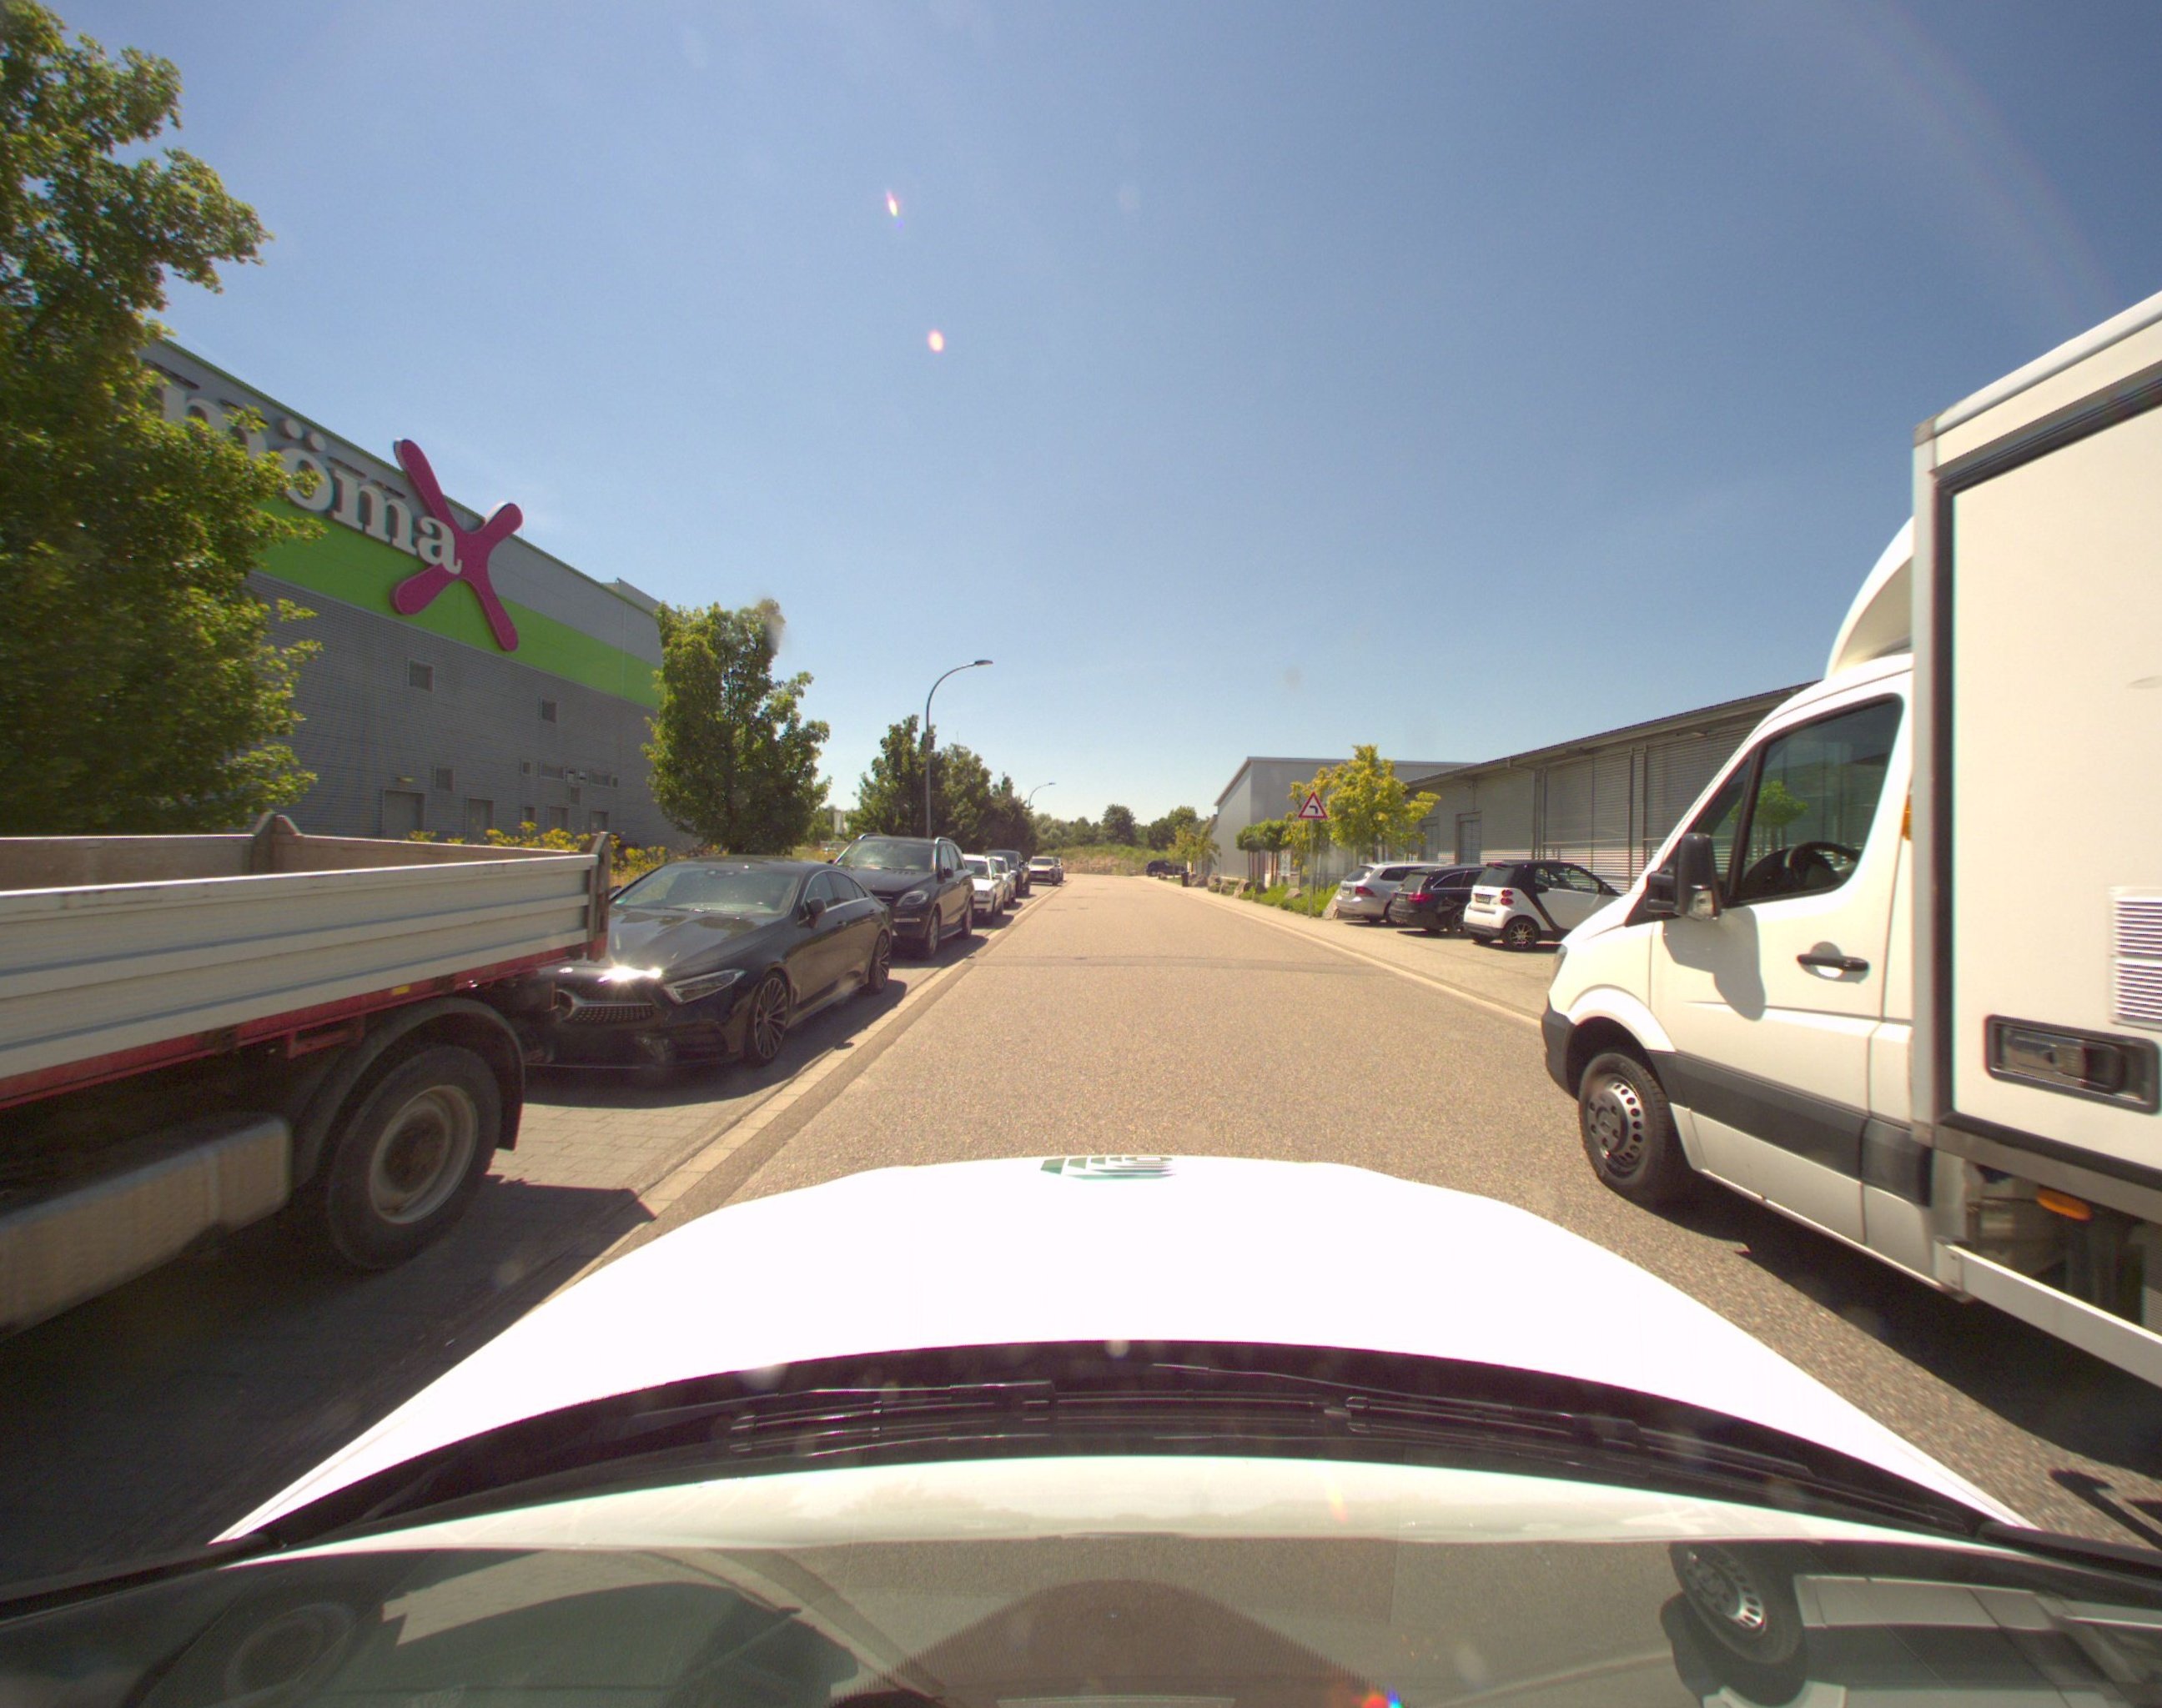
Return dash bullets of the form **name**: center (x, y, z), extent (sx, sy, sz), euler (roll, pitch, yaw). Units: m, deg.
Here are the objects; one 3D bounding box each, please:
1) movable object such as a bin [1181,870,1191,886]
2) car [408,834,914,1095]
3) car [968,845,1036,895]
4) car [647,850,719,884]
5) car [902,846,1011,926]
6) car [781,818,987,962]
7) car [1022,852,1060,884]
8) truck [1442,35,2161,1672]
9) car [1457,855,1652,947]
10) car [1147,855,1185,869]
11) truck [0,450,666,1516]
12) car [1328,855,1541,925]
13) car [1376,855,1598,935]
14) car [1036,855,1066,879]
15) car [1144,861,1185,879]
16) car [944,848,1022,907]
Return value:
- **movable object such as a bin**: center (6.444, 1.468, 50.009), extent (0.557, 0.946, 0.539), euler (0, -1, -1)
- **car**: center (-2.948, 0.655, 7.152), extent (1.845, 1.443, 4.754), euler (3, 0, 1)
- **car**: center (-2.961, 0.583, 31.697), extent (1.984, 1.713, 5.007), euler (3, 0, 1)
- **car**: center (-17.050, 0.532, 35.059), extent (1.426, 1.352, 3.239), euler (1, 0, 1)
- **car**: center (-2.696, 0.648, 18.763), extent (1.846, 1.519, 4.901), euler (3, 0, -2)
- **car**: center (-2.804, 0.469, 12.897), extent (1.845, 1.758, 4.988), euler (3, 0, 1)
- **car**: center (-2.272, 0.773, 47.540), extent (1.906, 1.713, 4.413), euler (3, 0, 0)
- **truck**: center (3.341, -0.001, 1.588), extent (2.447, 3.205, 6.886), euler (1, 0, 2)
- **car**: center (8.403, 0.805, 14.614), extent (2.696, 1.541, 1.413), euler (0, 0, 2)
- **car**: center (9.549, 0.866, 91.375), extent (3.997, 1.462, 1.892), euler (-1, -1, -1)
- **truck**: center (-3.160, 0.249, 1.932), extent (1.845, 2.222, 4.645), euler (3, 0, 0)
- **car**: center (8.283, 0.819, 19.387), extent (4.263, 1.541, 1.914), euler (0, 0, 2)
- **car**: center (8.250, 0.801, 16.829), extent (3.678, 1.541, 1.914), euler (0, 0, 2)
- **car**: center (-2.165, 0.930, 59.765), extent (1.906, 1.655, 4.754), euler (1, 0, 0)
- **car**: center (8.681, 1.662, 84.908), extent (3.997, 1.655, 1.857), euler (-3, -1, 0)
- **car**: center (-2.856, 0.654, 24.866), extent (1.846, 1.519, 5.163), euler (3, 0, -2)
